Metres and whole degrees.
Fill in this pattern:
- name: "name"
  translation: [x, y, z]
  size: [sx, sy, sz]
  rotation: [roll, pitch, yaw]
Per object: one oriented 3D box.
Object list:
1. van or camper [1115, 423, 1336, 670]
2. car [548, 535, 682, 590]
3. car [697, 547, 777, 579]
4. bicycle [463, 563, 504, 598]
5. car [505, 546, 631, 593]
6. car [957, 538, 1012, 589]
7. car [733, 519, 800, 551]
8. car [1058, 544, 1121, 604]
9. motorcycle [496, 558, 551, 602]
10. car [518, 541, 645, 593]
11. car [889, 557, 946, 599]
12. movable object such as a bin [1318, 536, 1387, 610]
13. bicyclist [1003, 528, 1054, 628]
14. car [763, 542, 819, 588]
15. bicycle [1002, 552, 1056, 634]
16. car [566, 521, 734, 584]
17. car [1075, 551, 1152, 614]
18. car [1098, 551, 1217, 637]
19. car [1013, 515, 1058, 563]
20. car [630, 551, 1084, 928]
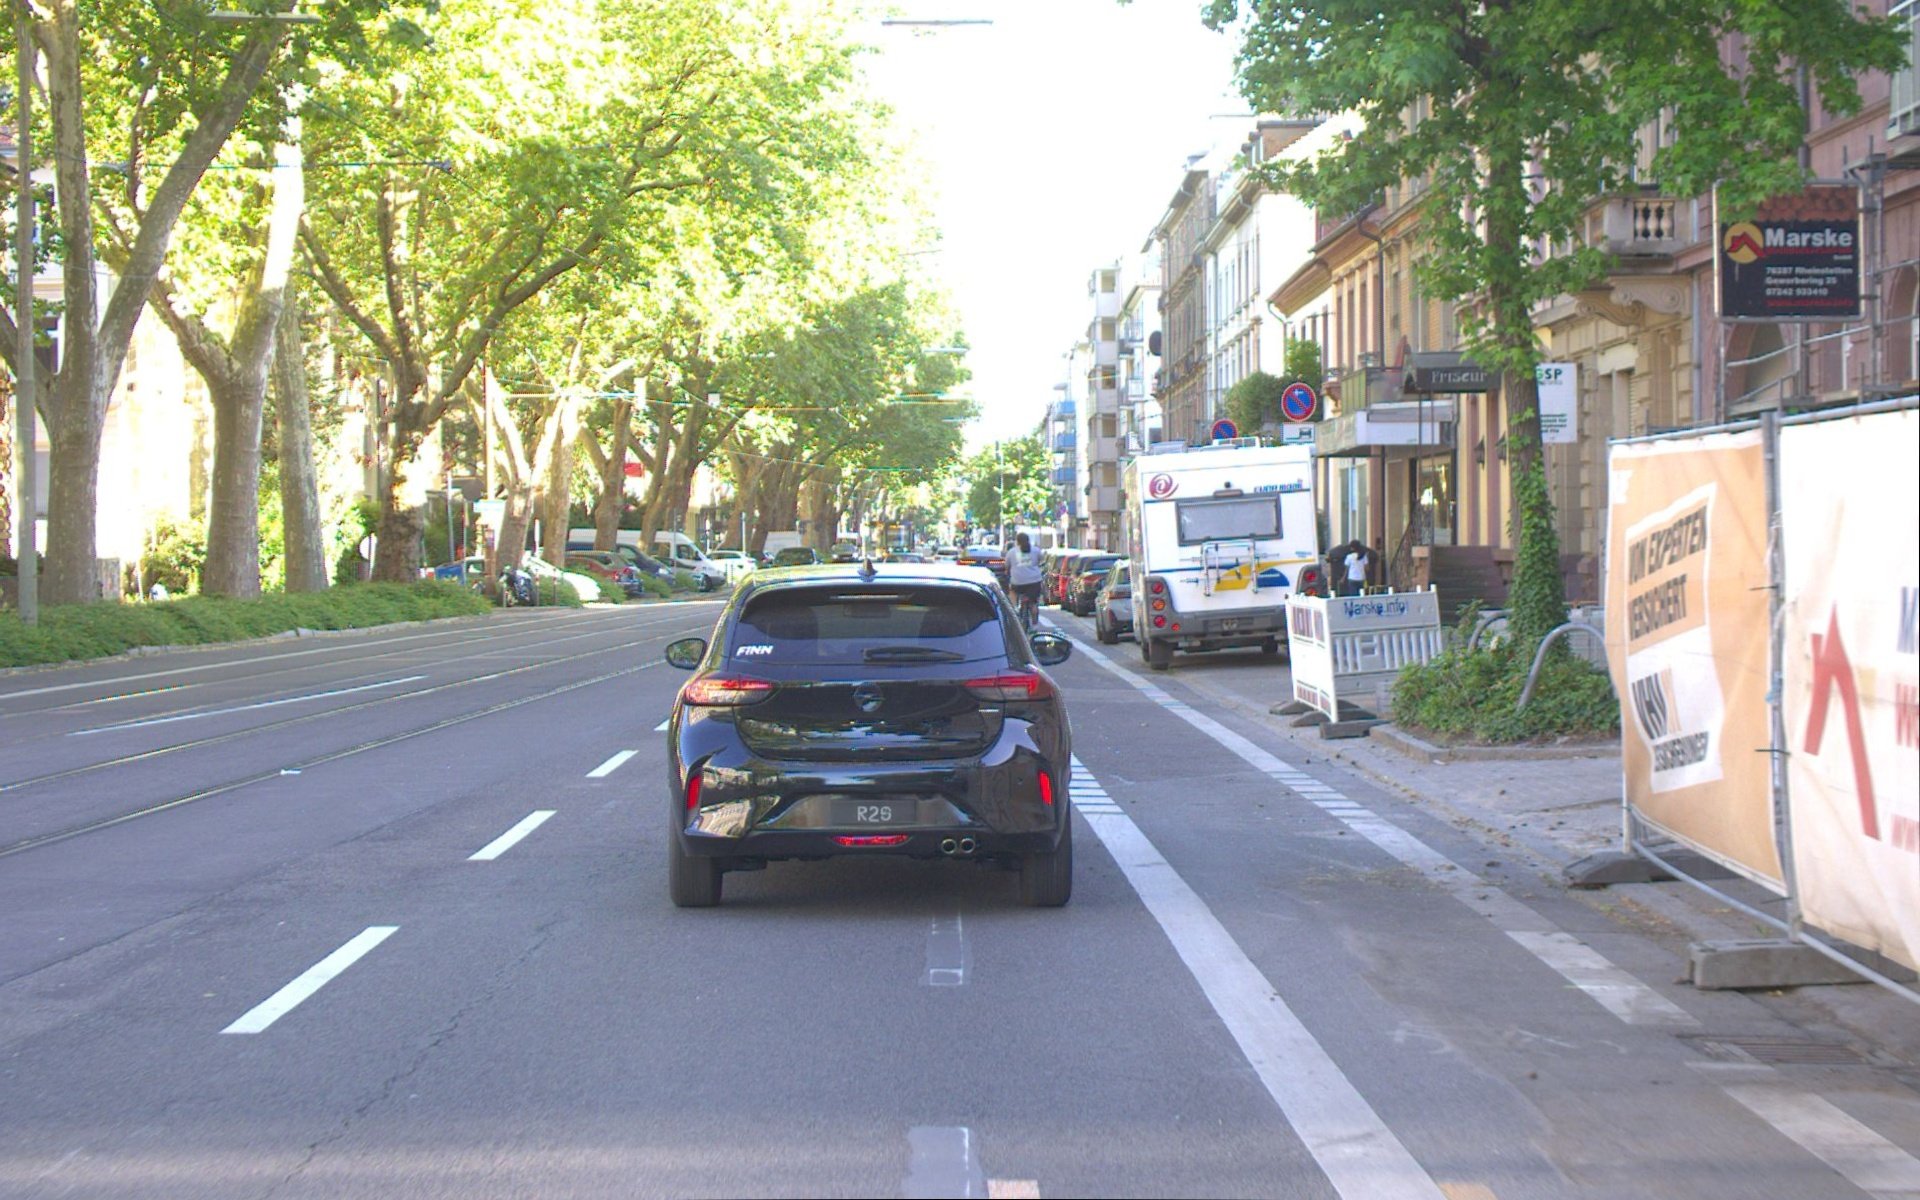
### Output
- name: "van or camper"
  translation: [3.516, -0.726, 47.229]
  size: [2.477, 2.962, 7.884]
  rotation: [-3, 1, 2]
- name: "car"
  translation: [-12.759, -1.395, 127.406]
  size: [4.675, 1.917, 1.980]
  rotation: [2, 1, 2]
- name: "car"
  translation: [-11.238, -1.871, 173.195]
  size: [3.919, 1.493, 1.677]
  rotation: [2, 1, -2]
- name: "bicycle"
  translation: [-12.942, -0.531, 93.441]
  size: [0.541, 0.937, 2.033]
  rotation: [1, 1, 8]
- name: "car"
  translation: [-12.898, -1.012, 113.313]
  size: [3.920, 1.437, 1.749]
  rotation: [2, 1, 1]
- name: "car"
  translation: [0.869, -1.281, 120.030]
  size: [1.810, 1.736, 3.933]
  rotation: [0, 1, 2]
- name: "car"
  translation: [-11.478, -3.832, 203.850]
  size: [3.919, 1.784, 1.677]
  rotation: [2, 1, -2]
- name: "car"
  translation: [3.457, -0.703, 92.062]
  size: [1.634, 1.541, 3.576]
  rotation: [-1, 1, 2]
- name: "motorcycle"
  translation: [-11.852, -0.550, 93.355]
  size: [0.884, 1.143, 2.390]
  rotation: [1, 1, 8]
- name: "car"
  translation: [-12.695, -1.104, 115.449]
  size: [3.994, 1.621, 1.879]
  rotation: [2, 1, 0]
- name: "car"
  translation: [-1.412, -0.741, 112.574]
  size: [1.809, 1.334, 3.933]
  rotation: [0, 1, -2]
- name: "movable object such as a bin"
  translation: [8.154, -0.565, 71.512]
  size: [1.293, 1.515, 1.286]
  rotation: [0, 1, 0]
- name: "bicyclist"
  translation: [1.201, -0.392, 60.406]
  size: [0.848, 1.734, 1.162]
  rotation: [0, 1, -1]
- name: "car"
  translation: [-6.258, -1.326, 127.634]
  size: [1.866, 1.624, 4.560]
  rotation: [0, 2, 0]
- name: "bicycle"
  translation: [1.205, -0.142, 60.341]
  size: [0.860, 1.402, 2.524]
  rotation: [0, 1, -1]
- name: "car"
  translation: [-12.805, -1.966, 142.375]
  size: [6.628, 2.401, 2.458]
  rotation: [2, 1, 1]
- name: "car"
  translation: [3.538, -0.432, 79.962]
  size: [1.694, 1.388, 4.494]
  rotation: [-1, 1, 2]
- name: "car"
  translation: [3.462, -0.137, 61.011]
  size: [1.809, 1.430, 4.665]
  rotation: [-1, 1, 0]
- name: "car"
  translation: [3.763, -2.997, 169.968]
  size: [2.075, 2.211, 4.933]
  rotation: [-3, 1, 2]
- name: "car"
  translation: [-0.410, 0.532, 15.427]
  size: [1.794, 1.436, 3.531]
  rotation: [0, 2, 0]
